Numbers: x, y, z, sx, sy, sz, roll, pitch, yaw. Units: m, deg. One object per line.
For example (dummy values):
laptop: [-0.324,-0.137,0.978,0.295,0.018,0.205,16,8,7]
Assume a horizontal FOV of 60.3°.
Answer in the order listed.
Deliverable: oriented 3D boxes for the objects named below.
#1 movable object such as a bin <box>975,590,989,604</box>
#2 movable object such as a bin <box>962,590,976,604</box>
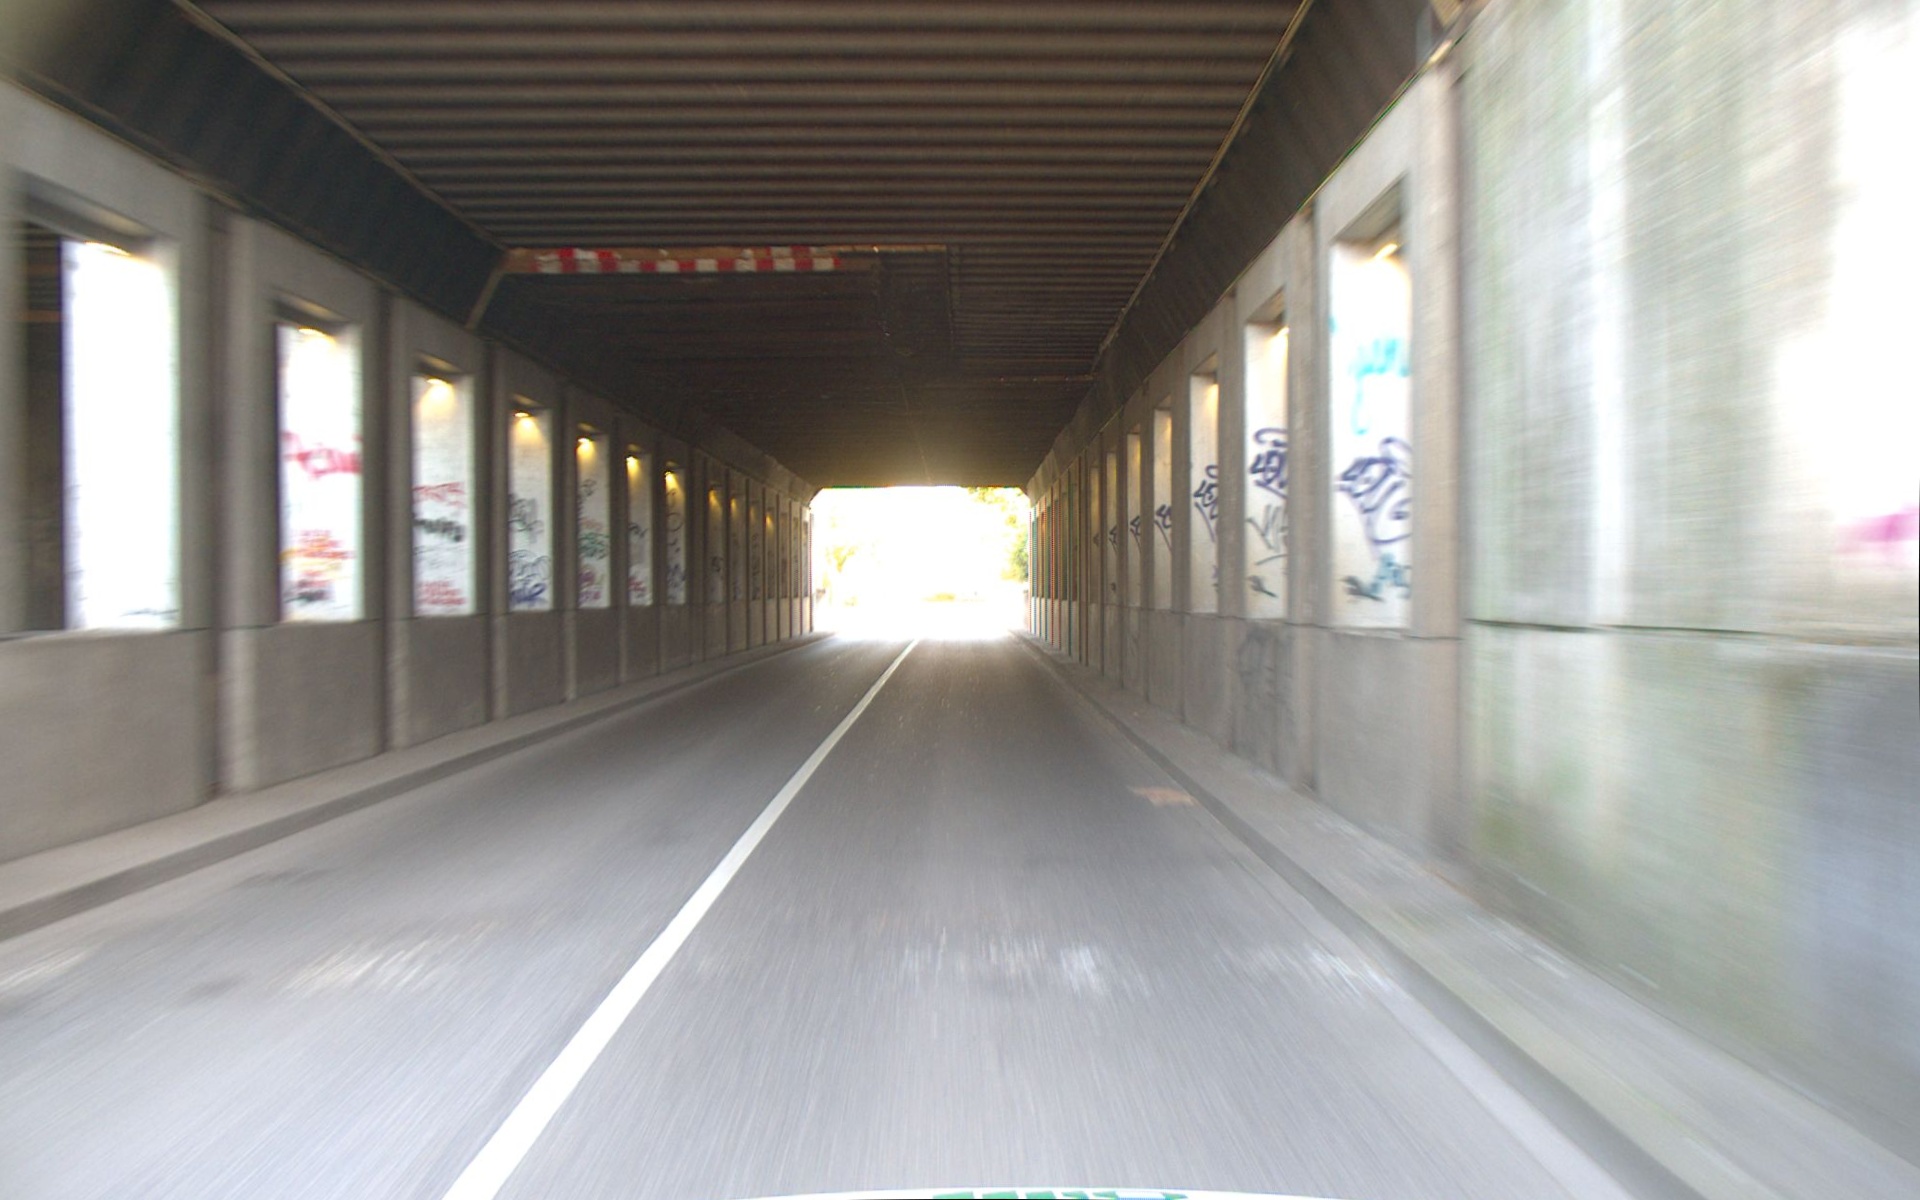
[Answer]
movable object such as a bin: [2.392,-0.309,178.714,1.339,1.443,1.064,2,-1,-7]
movable object such as a bin: [0.989,-0.351,178.492,1.339,1.443,1.064,2,-1,-7]
